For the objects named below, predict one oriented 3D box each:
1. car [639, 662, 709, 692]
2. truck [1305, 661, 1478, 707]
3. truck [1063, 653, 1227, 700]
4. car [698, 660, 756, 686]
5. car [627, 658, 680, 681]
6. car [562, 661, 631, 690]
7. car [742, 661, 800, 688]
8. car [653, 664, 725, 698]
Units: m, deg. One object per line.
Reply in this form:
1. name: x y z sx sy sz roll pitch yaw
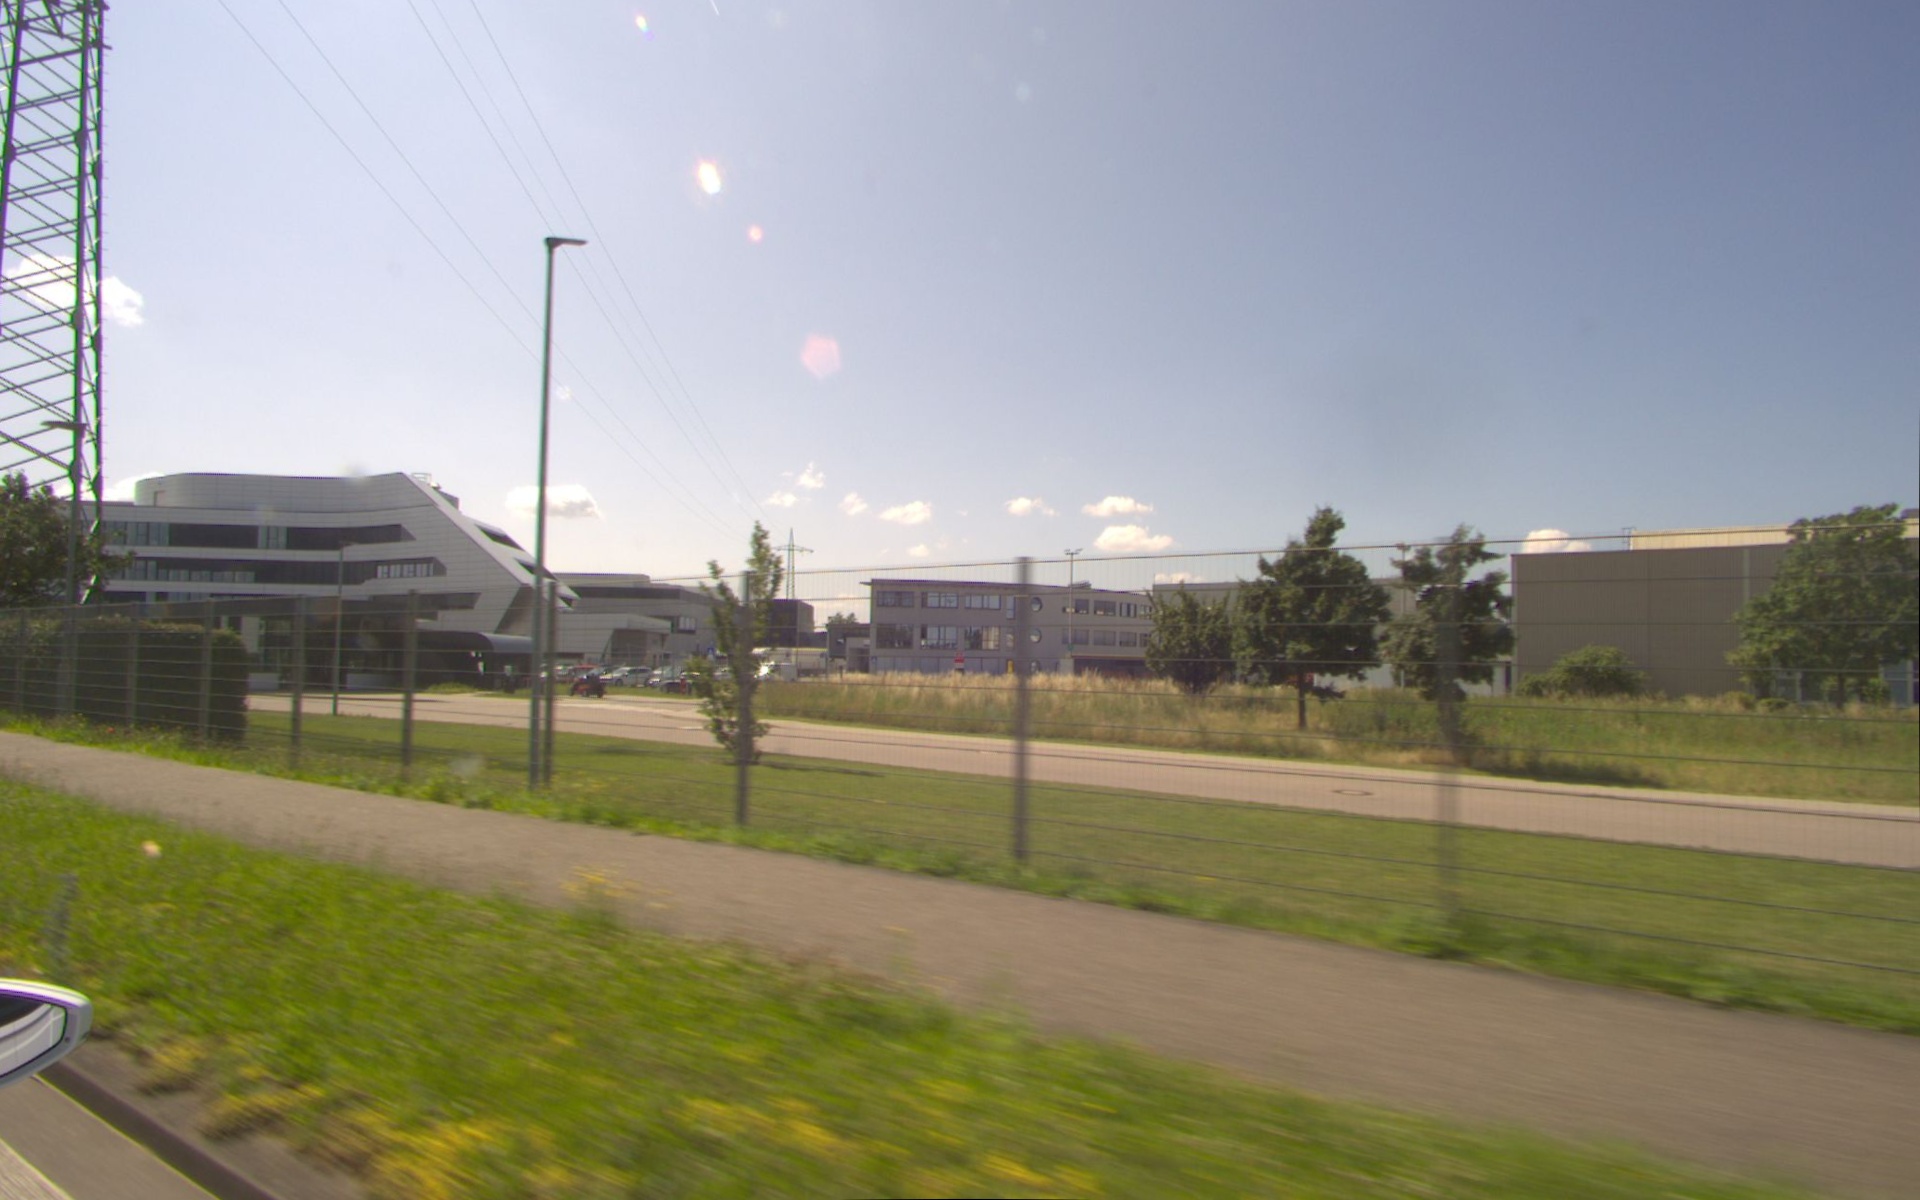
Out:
1. car: -20.797 5.663 72.998 1.971 2.037 4.736 0 -5 31
2. truck: 31.938 6.181 74.530 11.685 2.997 1.991 -1 -4 33
3. truck: 14.970 6.234 82.222 13.438 3.402 1.991 -1 -4 33
4. car: -19.586 6.175 84.285 1.971 2.037 4.736 0 -5 31
5. car: -29.076 6.603 95.120 1.971 2.037 4.736 0 -5 31
6. car: -27.683 5.781 76.363 1.971 2.037 4.736 0 -5 31
7. car: -15.363 6.088 81.788 1.971 2.037 4.736 0 -5 31
8. car: -18.074 5.398 66.759 4.686 2.038 1.992 -1 -5 33
